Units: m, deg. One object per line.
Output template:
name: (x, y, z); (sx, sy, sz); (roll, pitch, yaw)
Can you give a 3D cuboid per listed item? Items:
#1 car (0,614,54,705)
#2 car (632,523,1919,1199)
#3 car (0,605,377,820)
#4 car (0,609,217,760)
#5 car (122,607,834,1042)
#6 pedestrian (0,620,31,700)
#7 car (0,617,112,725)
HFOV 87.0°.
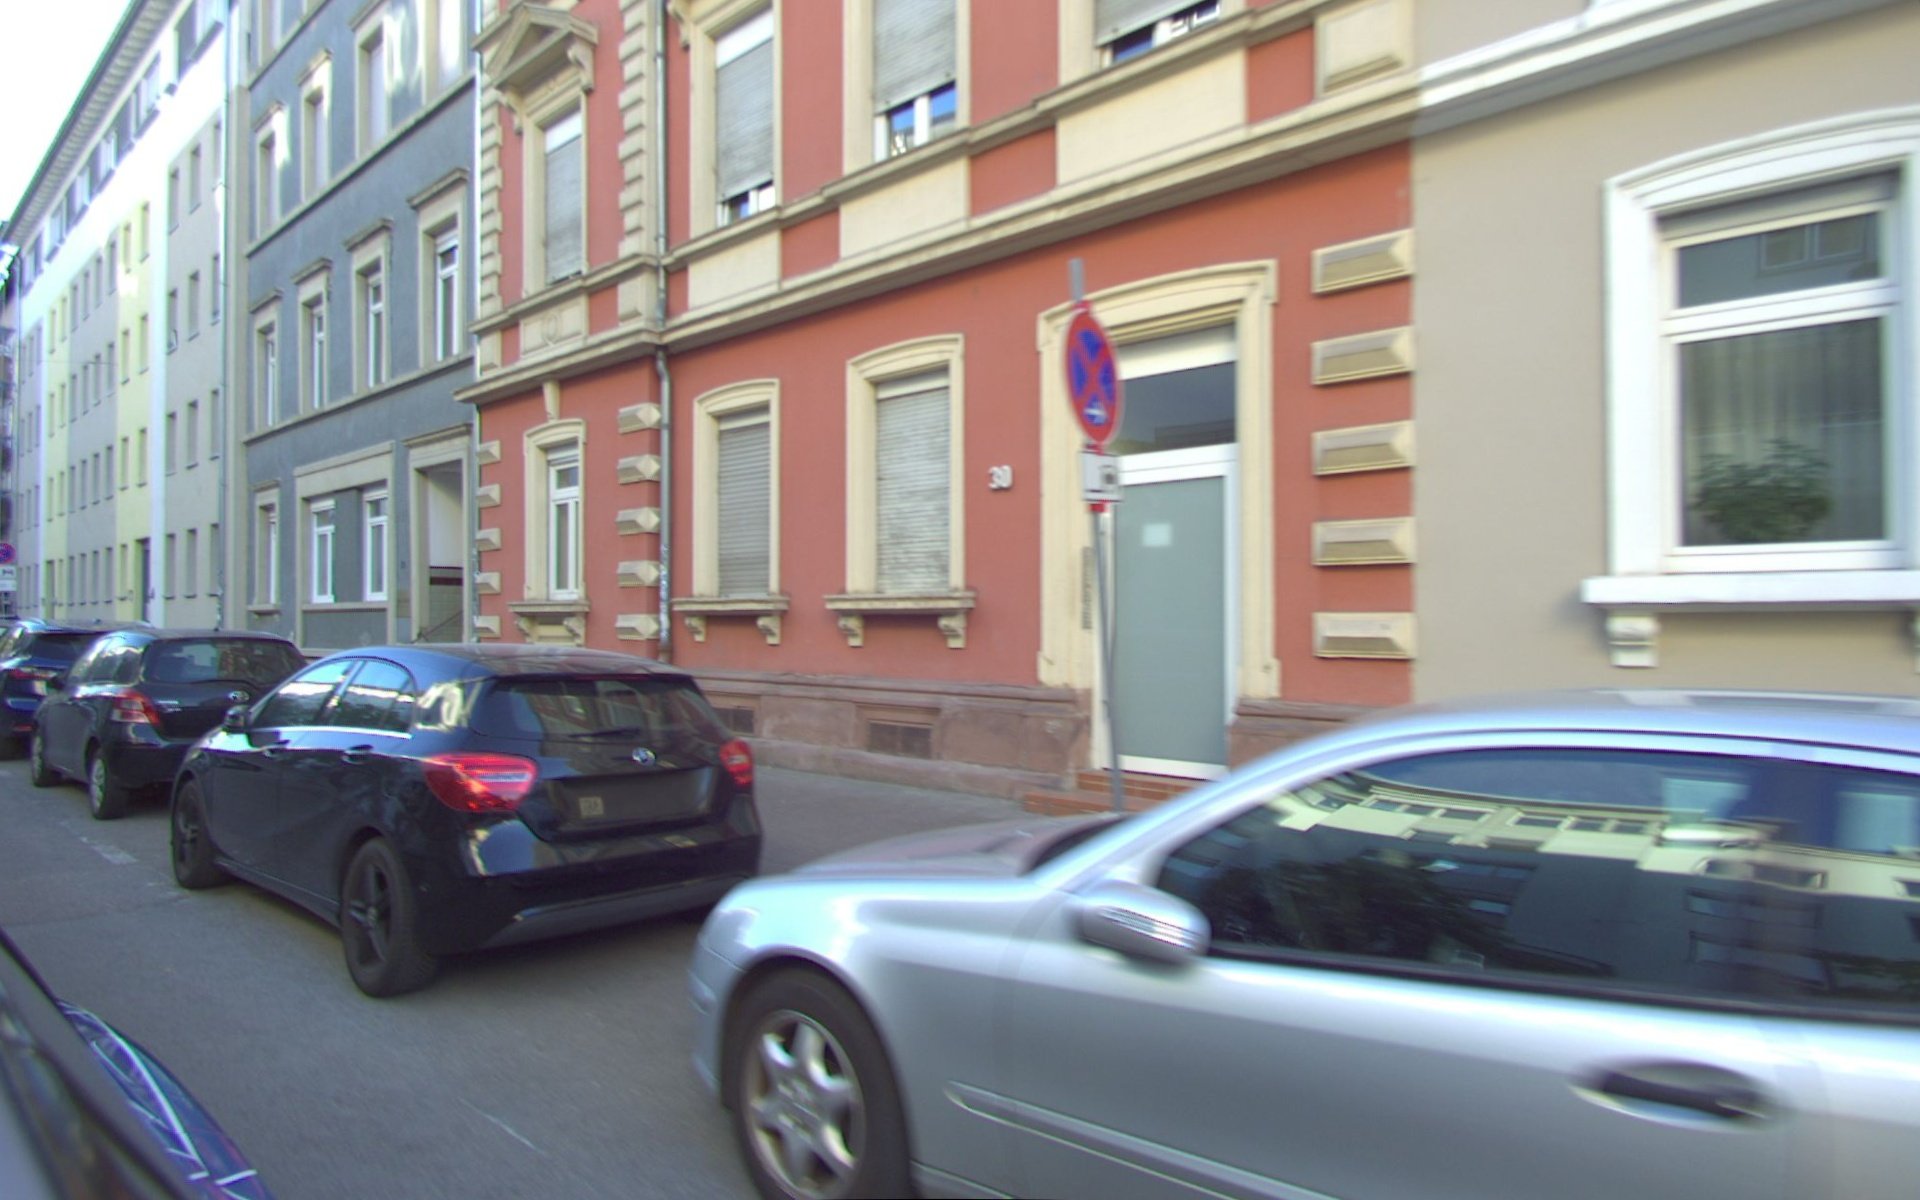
car: (-19.633, 1.139, 19.967); (4.464, 1.676, 1.901); (-2, -4, 39)
car: (1.345, 0.754, 2.214); (4.262, 1.572, 1.901); (-2, -4, 39)
car: (-7.391, 0.925, 9.522); (4.236, 1.572, 1.882); (-2, -4, 39)
car: (-11.090, 0.981, 12.607); (4.262, 1.572, 1.901); (-2, -4, 39)
car: (-2.873, 0.874, 5.616); (4.262, 1.495, 1.901); (-2, -4, 39)
pedestrian: (-22.073, 1.367, 23.320); (1.091, 1.804, 0.781); (-1, -3, 40)
car: (-15.556, 1.114, 16.459); (4.262, 1.572, 1.901); (-2, -4, 39)
